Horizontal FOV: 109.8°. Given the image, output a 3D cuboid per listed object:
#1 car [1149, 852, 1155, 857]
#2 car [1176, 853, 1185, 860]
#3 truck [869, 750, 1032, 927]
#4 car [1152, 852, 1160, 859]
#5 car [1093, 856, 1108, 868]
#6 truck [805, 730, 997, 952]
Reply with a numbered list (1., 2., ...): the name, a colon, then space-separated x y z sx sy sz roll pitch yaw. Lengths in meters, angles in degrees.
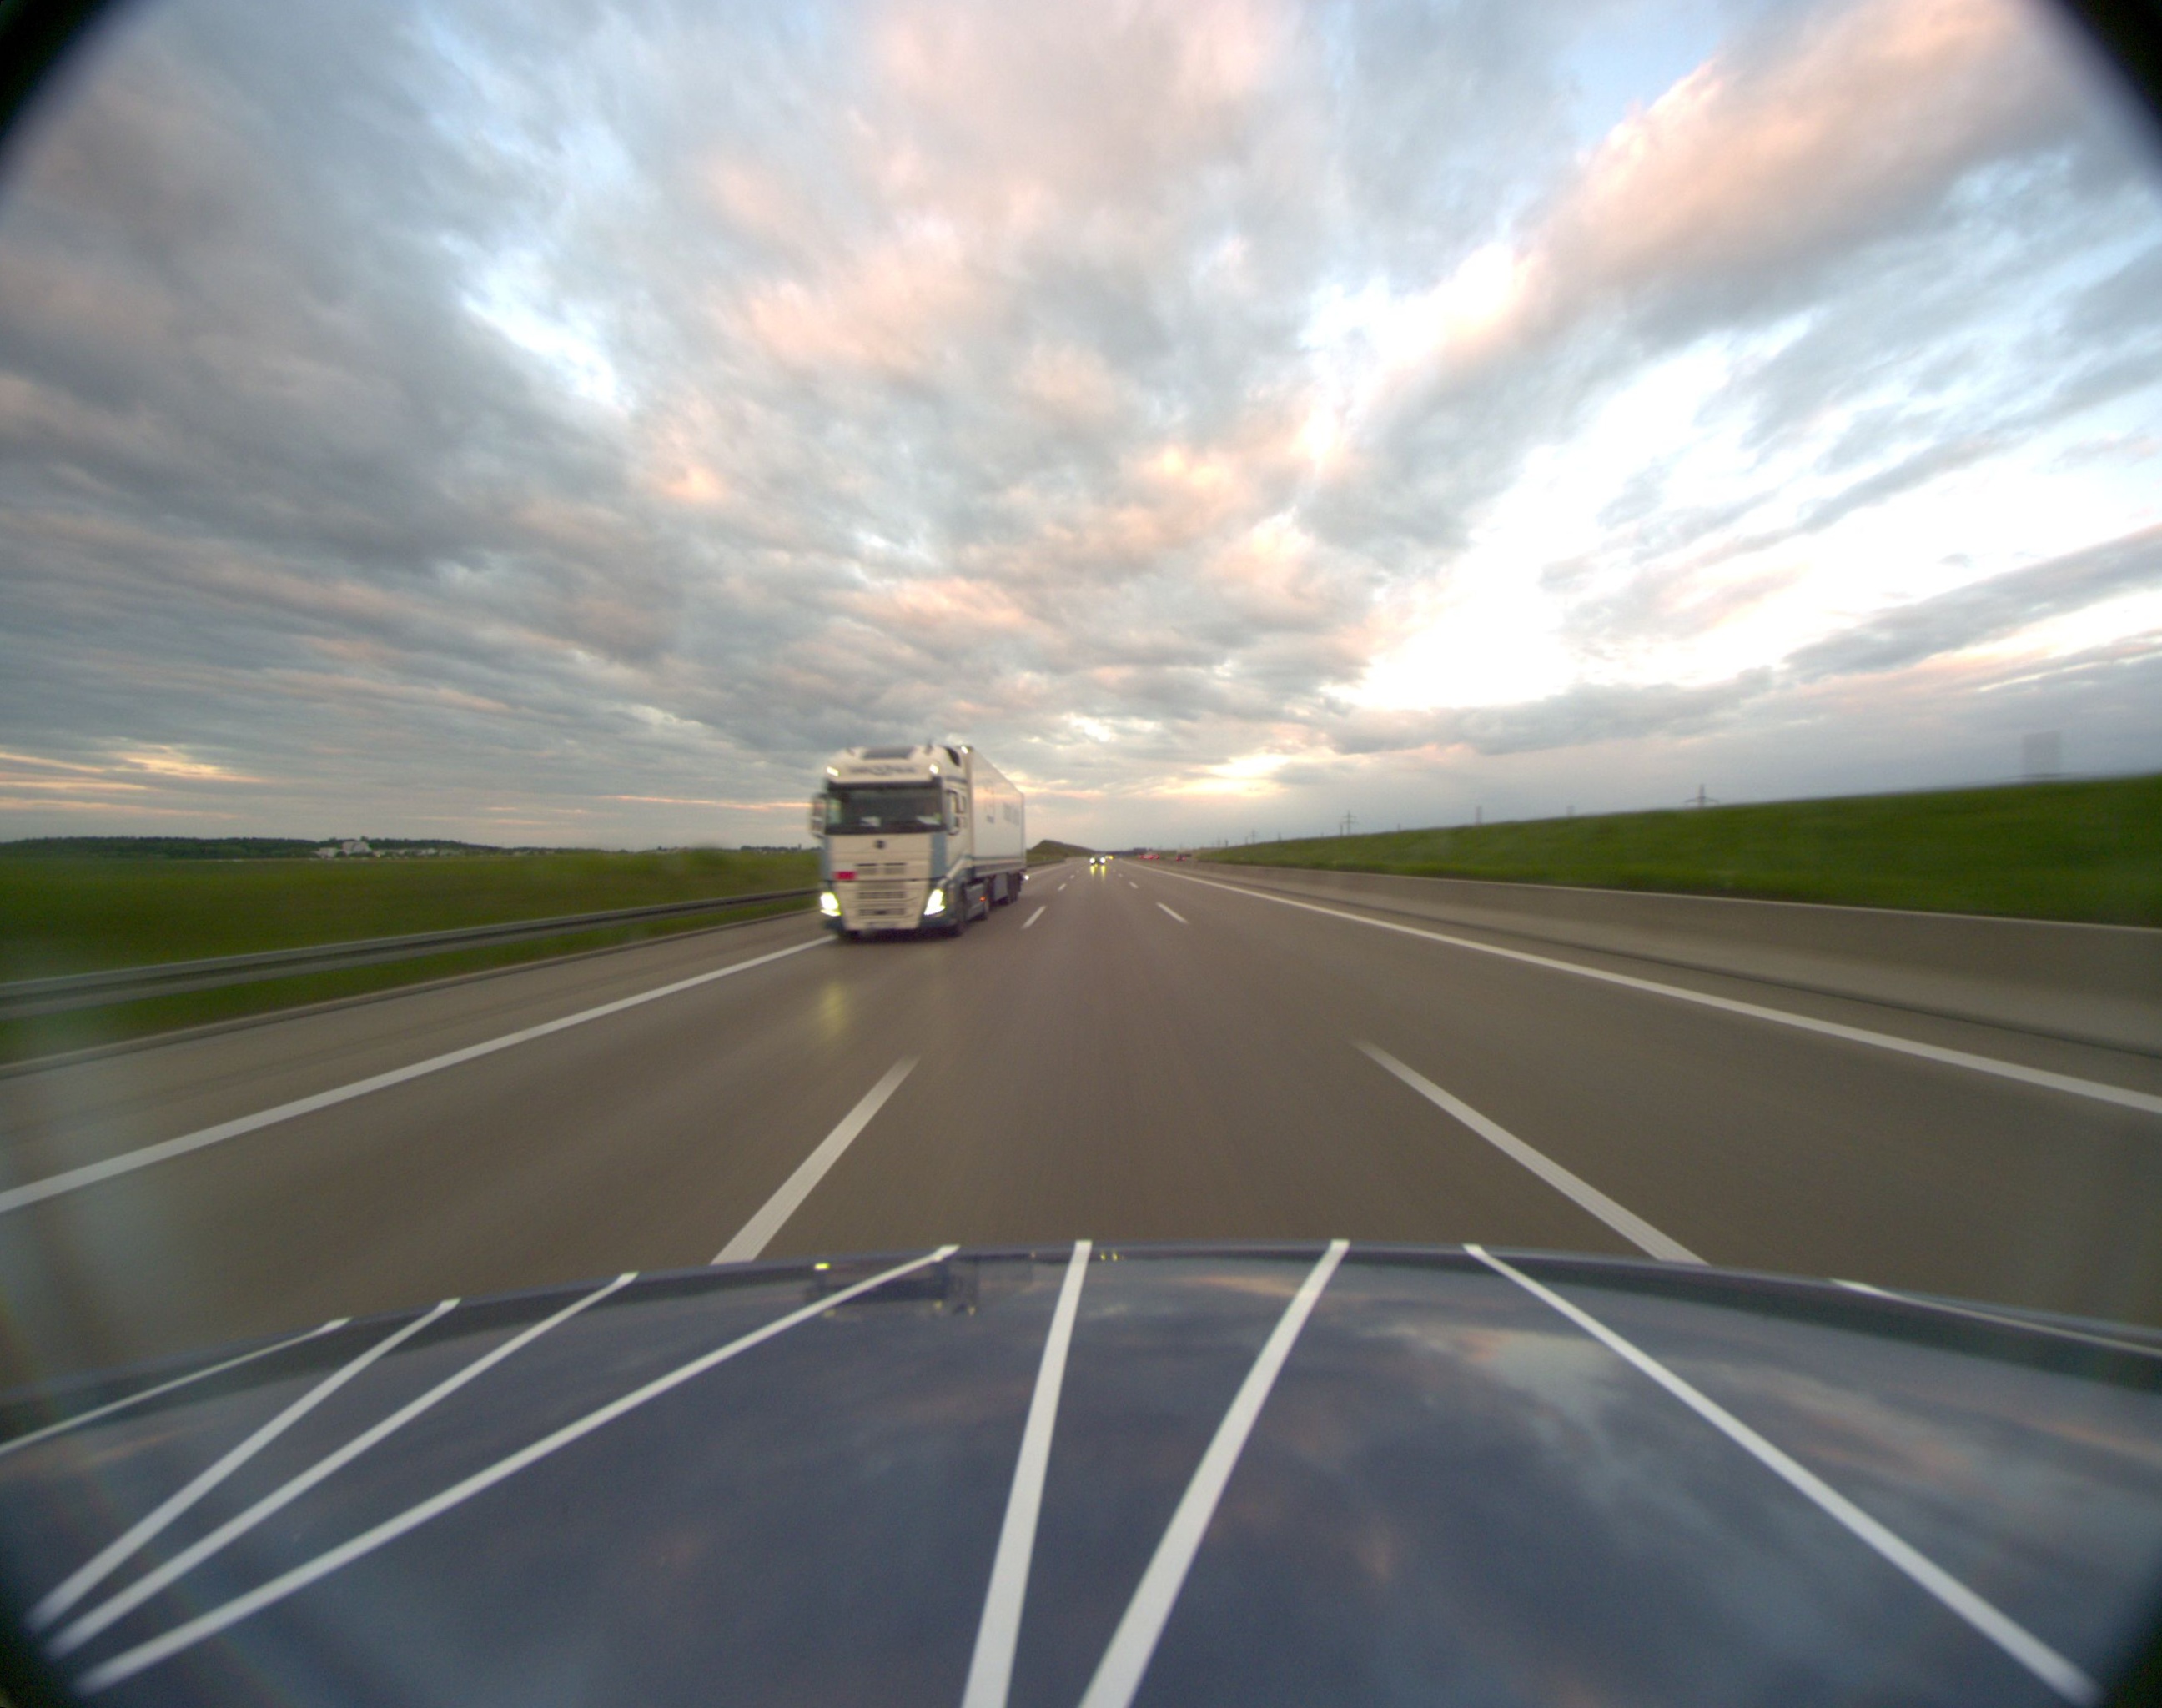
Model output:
1. car: 24.460 0.263 261.737 1.998 1.783 4.000 -1 0 2
2. car: 24.264 0.489 185.798 1.739 1.663 3.597 -1 0 2
3. truck: -3.423 -0.389 23.958 2.597 4.000 12.984 -1 0 1
4. car: 16.838 0.370 170.752 1.744 1.590 4.000 -1 0 3
5. car: 2.919 1.187 112.469 1.998 1.652 4.850 -3 1 0
6. truck: -3.620 -0.256 16.835 2.596 4.000 5.859 -1 1 2
